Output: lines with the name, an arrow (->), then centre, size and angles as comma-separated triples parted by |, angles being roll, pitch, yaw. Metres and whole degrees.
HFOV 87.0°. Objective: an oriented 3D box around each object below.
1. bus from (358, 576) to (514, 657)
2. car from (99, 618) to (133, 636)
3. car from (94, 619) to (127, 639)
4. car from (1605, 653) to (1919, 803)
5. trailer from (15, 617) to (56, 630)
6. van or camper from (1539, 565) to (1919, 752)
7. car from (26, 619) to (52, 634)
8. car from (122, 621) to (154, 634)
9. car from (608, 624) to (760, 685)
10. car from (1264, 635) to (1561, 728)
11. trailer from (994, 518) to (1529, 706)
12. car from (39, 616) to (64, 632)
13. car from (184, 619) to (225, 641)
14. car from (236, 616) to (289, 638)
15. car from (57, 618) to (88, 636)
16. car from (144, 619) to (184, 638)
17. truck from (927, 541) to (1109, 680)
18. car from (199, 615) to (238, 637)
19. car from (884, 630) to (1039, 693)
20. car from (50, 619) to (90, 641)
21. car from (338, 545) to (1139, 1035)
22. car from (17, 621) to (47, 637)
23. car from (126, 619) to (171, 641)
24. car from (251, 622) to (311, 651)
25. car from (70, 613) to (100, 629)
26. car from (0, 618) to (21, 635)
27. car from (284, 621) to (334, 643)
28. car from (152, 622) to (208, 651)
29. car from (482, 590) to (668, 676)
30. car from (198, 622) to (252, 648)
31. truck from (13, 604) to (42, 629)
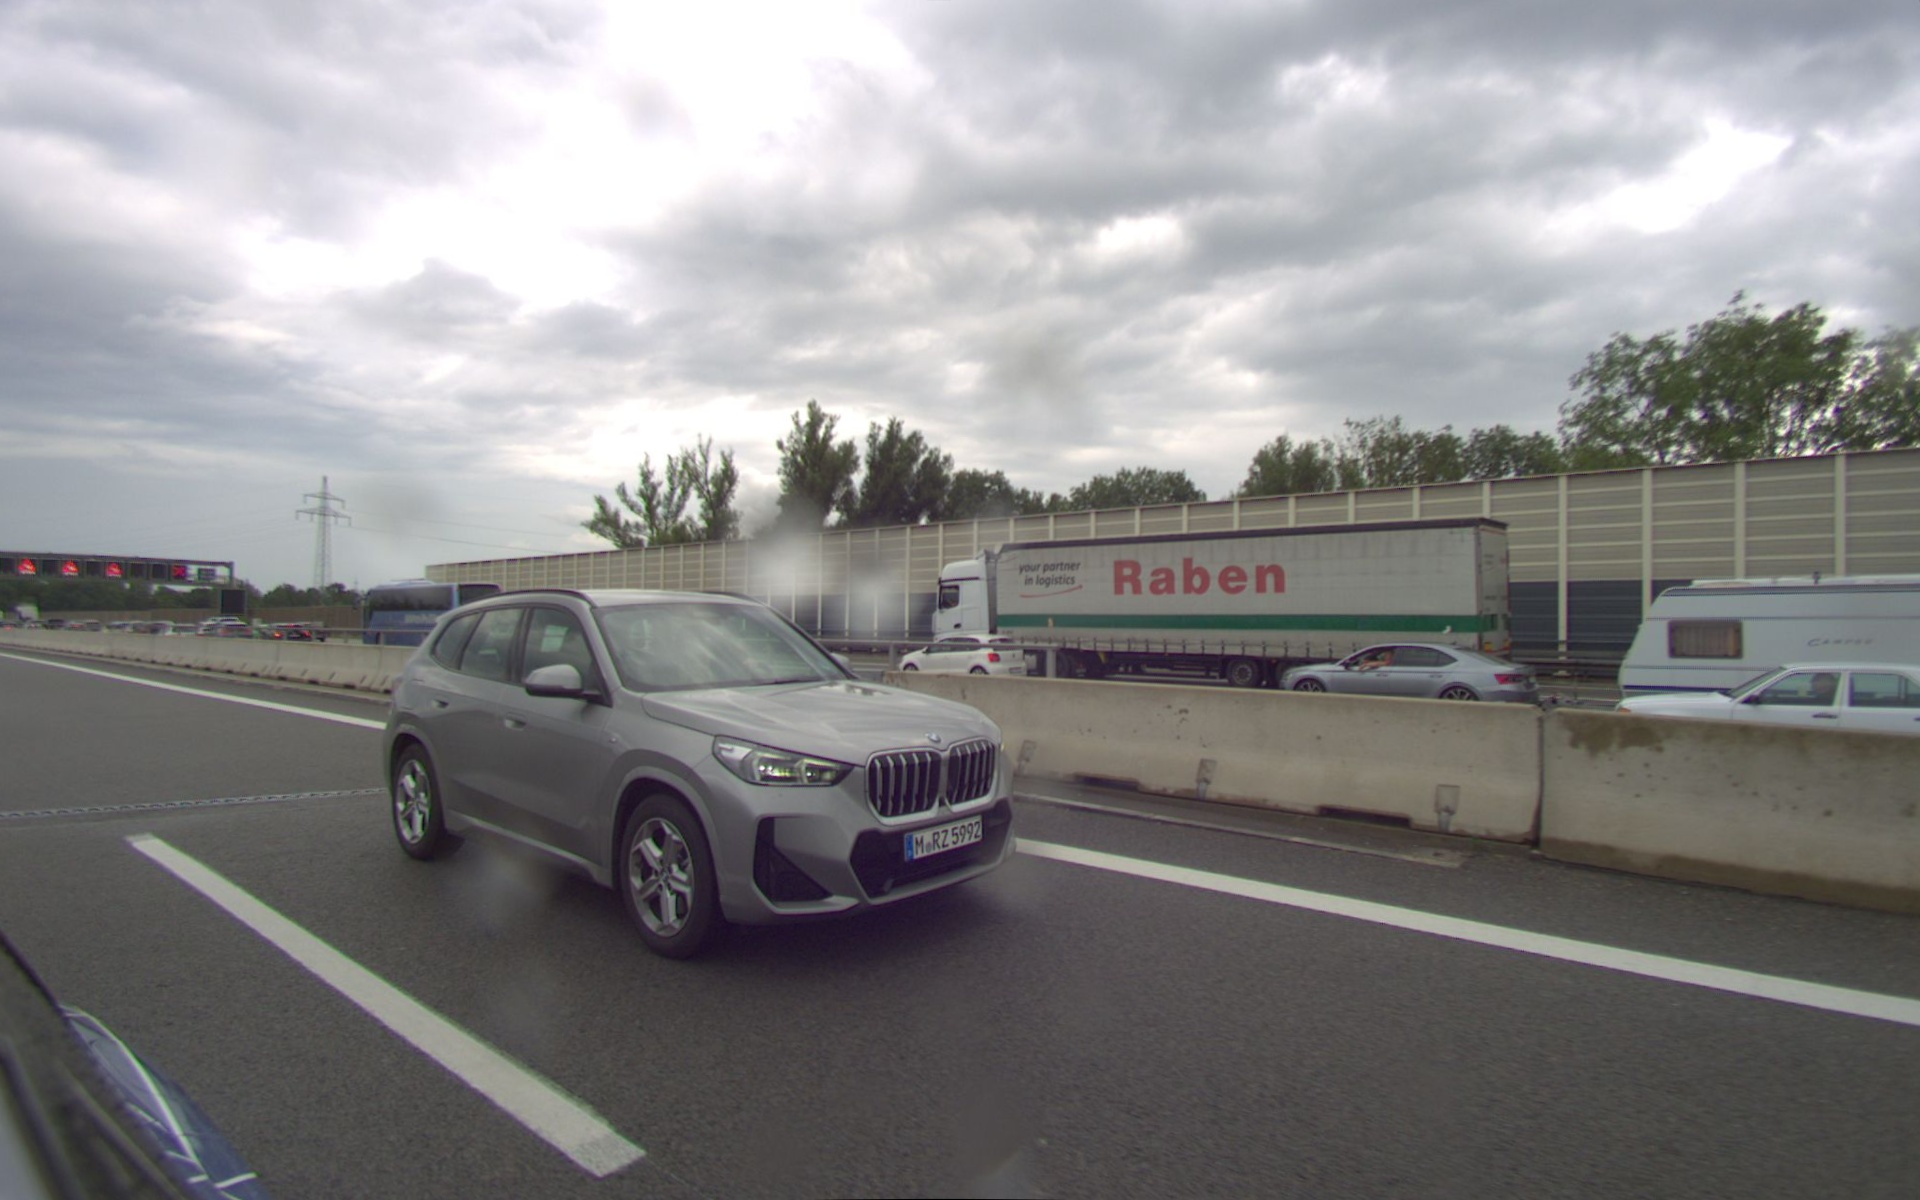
bus -> -27.307, 0.858, 52.312 | 11.876, 3.787, 3.060 | -1, -2, 41
car -> -81.837, 2.603, 98.155 | 4.388, 1.643, 1.730 | -1, -2, 40
car -> -71.666, 2.447, 85.358 | 3.617, 1.592, 1.604 | -1, -2, 41
car -> 11.279, 1.557, 12.747 | 5.093, 1.611, 1.903 | -1, -2, 41
trailer -> -141.802, 3.579, 155.183 | 16.339, 1.842, 2.724 | -1, -2, 41
van or camper -> 13.497, 0.863, 16.073 | 7.146, 2.661, 2.320 | -1, -2, 41
car -> -101.627, 2.882, 111.623 | 4.165, 1.643, 1.728 | -1, -2, 42
car -> -92.895, 3.080, 114.371 | 4.568, 1.411, 1.845 | -1, -1, 39
car -> -8.290, 1.552, 30.170 | 4.799, 1.672, 2.057 | -1, -2, 41
car -> 8.840, 1.509, 20.115 | 5.137, 1.537, 1.729 | -1, -2, 41
trailer -> 7.066, 0.315, 26.904 | 13.809, 3.964, 2.536 | -1, 0, 41
car -> -112.054, 2.962, 124.813 | 4.162, 1.861, 1.730 | -1, -2, 40
car -> -58.332, 2.279, 78.130 | 4.176, 1.623, 1.729 | -1, -2, 41
car -> -47.231, 1.801, 68.493 | 4.711, 1.441, 1.730 | -1, -1, 39
car -> -84.540, 2.578, 96.395 | 4.165, 1.643, 1.728 | -1, -2, 42
car -> -69.439, 2.476, 88.305 | 4.639, 1.643, 1.730 | -1, -1, 39
truck -> 1.747, 0.310, 31.591 | 5.174, 3.964, 2.550 | -1, 0, 41
car -> -66.603, 2.321, 90.909 | 4.778, 1.908, 1.730 | -1, -2, 40
car -> 0.000, 1.627, 27.829 | 4.176, 1.537, 1.729 | -1, -2, 41
car -> -67.203, 2.258, 76.415 | 4.176, 1.620, 1.729 | -1, -2, 41
car -> -1.605, 0.664, 5.687 | 4.911, 1.637, 1.817 | -1, -1, 41
car -> -82.006, 2.564, 89.378 | 3.574, 1.404, 1.555 | -1, -2, 41
car -> -61.813, 2.250, 77.073 | 4.176, 1.623, 1.914 | -1, -2, 41
car -> -37.589, 2.004, 56.018 | 4.176, 1.537, 1.729 | -1, -2, 41
car -> -94.683, 2.286, 109.503 | 4.522, 1.643, 1.803 | -1, -2, 40
car -> -93.582, 2.585, 99.336 | 3.746, 1.643, 1.729 | -1, -2, 41
car -> -49.271, 2.380, 76.536 | 5.685, 1.623, 1.729 | -1, -2, 41
car -> -43.917, 2.010, 56.933 | 4.176, 1.537, 1.729 | -1, -2, 41
car -> -10.491, 0.853, 27.288 | 6.011, 2.087, 2.137 | -1, -2, 41
car -> -46.606, 2.198, 64.110 | 4.924, 1.537, 1.729 | -1, -2, 41
truck -> -148.076, 2.588, 160.648 | 6.047, 3.917, 2.724 | -1, -2, 41
